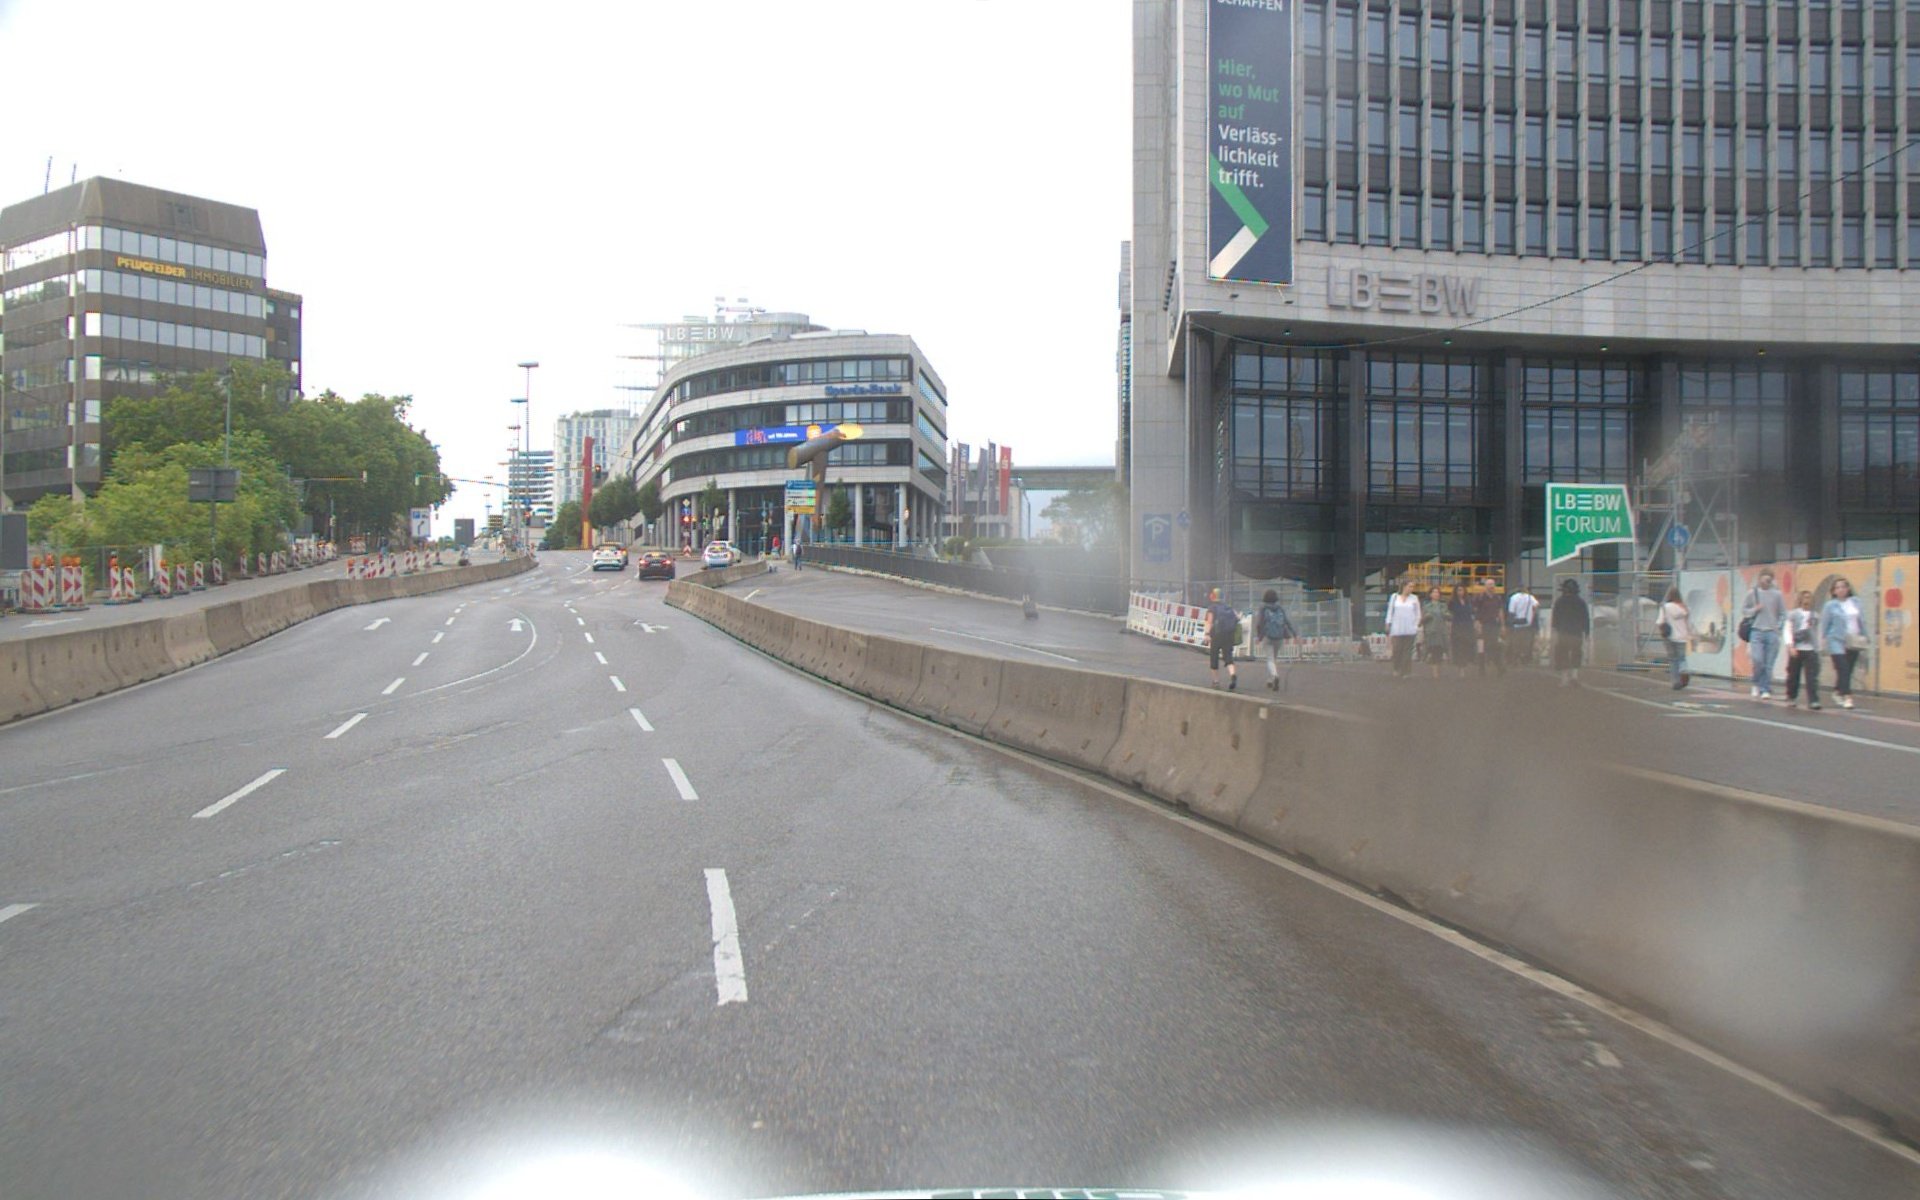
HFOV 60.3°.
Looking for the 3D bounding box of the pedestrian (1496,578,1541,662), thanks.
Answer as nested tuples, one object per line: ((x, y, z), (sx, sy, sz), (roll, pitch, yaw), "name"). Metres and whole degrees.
((12.266, 0.431, 36.362), (0.847, 1.812, 1.009), (0, 0, 14), "pedestrian")

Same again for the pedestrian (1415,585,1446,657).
((11.093, 0.485, 39.021), (0.683, 1.665, 0.917), (0, 0, 14), "pedestrian")

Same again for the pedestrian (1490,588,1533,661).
((12.621, 0.553, 37.861), (0.847, 1.665, 1.009), (0, 0, 14), "pedestrian")

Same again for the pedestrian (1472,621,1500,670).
((18.301, 1.573, 57.522), (0.728, 1.665, 0.649), (0, -1, 44), "pedestrian")

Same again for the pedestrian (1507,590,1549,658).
((13.465, 0.561, 39.212), (0.847, 1.580, 1.009), (0, 0, 14), "pedestrian")

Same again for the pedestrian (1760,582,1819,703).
((11.066, 0.550, 22.076), (0.633, 1.580, 0.766), (0, 0, 21), "pedestrian")

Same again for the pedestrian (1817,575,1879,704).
((11.802, 0.513, 21.999), (0.633, 1.684, 0.766), (0, 0, 21), "pedestrian")

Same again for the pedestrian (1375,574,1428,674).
((7.836, 0.418, 29.391), (0.761, 1.753, 0.892), (0, 0, 4), "pedestrian")

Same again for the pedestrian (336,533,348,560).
((-45.205, -3.936, 121.015), (0.660, 1.935, 0.773), (0, 0, -13), "pedestrian")

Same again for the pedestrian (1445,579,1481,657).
((11.843, 0.419, 38.973), (0.754, 1.814, 1.009), (0, 0, 14), "pedestrian")

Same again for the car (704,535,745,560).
((-15.874, -3.570, 111.696), (1.734, 1.662, 4.585), (1, 2, 5), "car")

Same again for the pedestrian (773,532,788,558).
((-13.354, -4.103, 123.085), (0.822, 1.938, 0.862), (0, 0, 11), "pedestrian")

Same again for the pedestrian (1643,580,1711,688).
((11.645, 0.543, 26.889), (0.847, 1.719, 1.009), (0, 0, 14), "pedestrian")

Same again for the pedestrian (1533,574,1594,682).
((10.003, 0.450, 27.435), (0.847, 1.756, 1.009), (0, 0, 14), "pedestrian")

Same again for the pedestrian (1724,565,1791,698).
((11.563, 0.447, 23.994), (0.801, 1.881, 0.931), (0, 0, 21), "pedestrian")

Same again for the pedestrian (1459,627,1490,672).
((19.416, 1.871, 62.414), (0.851, 1.665, 1.005), (0, -1, 34), "pedestrian")

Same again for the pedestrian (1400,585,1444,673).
((8.246, 0.508, 29.564), (0.596, 1.549, 0.886), (0, 0, 4), "pedestrian")

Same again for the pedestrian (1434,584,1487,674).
((8.943, 0.513, 29.589), (0.699, 1.580, 1.009), (0, 0, 4), "pedestrian")

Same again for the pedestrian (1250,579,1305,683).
((5.081, 0.488, 26.426), (0.842, 1.621, 0.953), (0, 0, 12), "pedestrian")

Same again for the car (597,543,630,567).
((-22.506, -2.932, 107.314), (1.712, 1.468, 3.981), (0, 2, -18), "car")

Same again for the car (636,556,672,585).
((-16.103, -1.532, 86.857), (1.724, 1.432, 4.215), (2, 1, -12), "car")

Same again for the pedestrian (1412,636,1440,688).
((15.310, 2.025, 54.359), (0.847, 1.665, 1.009), (0, 0, 14), "pedestrian")

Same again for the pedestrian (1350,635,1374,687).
((13.306, 2.008, 54.774), (0.575, 1.665, 0.750), (0, -1, 33), "pedestrian")

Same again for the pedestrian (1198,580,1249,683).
((4.211, 0.493, 26.379), (0.716, 1.602, 0.805), (2, 0, 12), "pedestrian")

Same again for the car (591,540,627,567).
((-20.849, -2.792, 98.409), (1.928, 1.575, 4.209), (0, 2, -10), "car")

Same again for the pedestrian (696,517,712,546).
((-19.691, -5.284, 127.279), (0.846, 2.135, 0.892), (2, 1, -38), "pedestrian")

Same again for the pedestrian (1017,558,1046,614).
((2.205, -0.439, 51.060), (0.714, 1.681, 1.062), (0, 1, 12), "pedestrian")

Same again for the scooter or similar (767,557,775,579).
((-10.233, -1.723, 89.482), (0.342, 1.183, 0.573), (0, 1, 0), "scooter or similar")

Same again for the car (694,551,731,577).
((-14.779, -2.152, 98.466), (1.673, 1.476, 4.597), (1, 1, -15), "car")

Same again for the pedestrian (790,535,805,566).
((-9.315, -2.813, 94.971), (0.717, 1.741, 0.839), (0, 0, -16), "pedestrian")

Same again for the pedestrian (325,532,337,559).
((-45.951, -3.958, 120.859), (0.748, 1.956, 0.740), (0, 0, -13), "pedestrian")

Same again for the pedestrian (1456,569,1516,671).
((9.714, 0.364, 30.573), (0.848, 1.849, 1.009), (0, 0, 4), "pedestrian")
